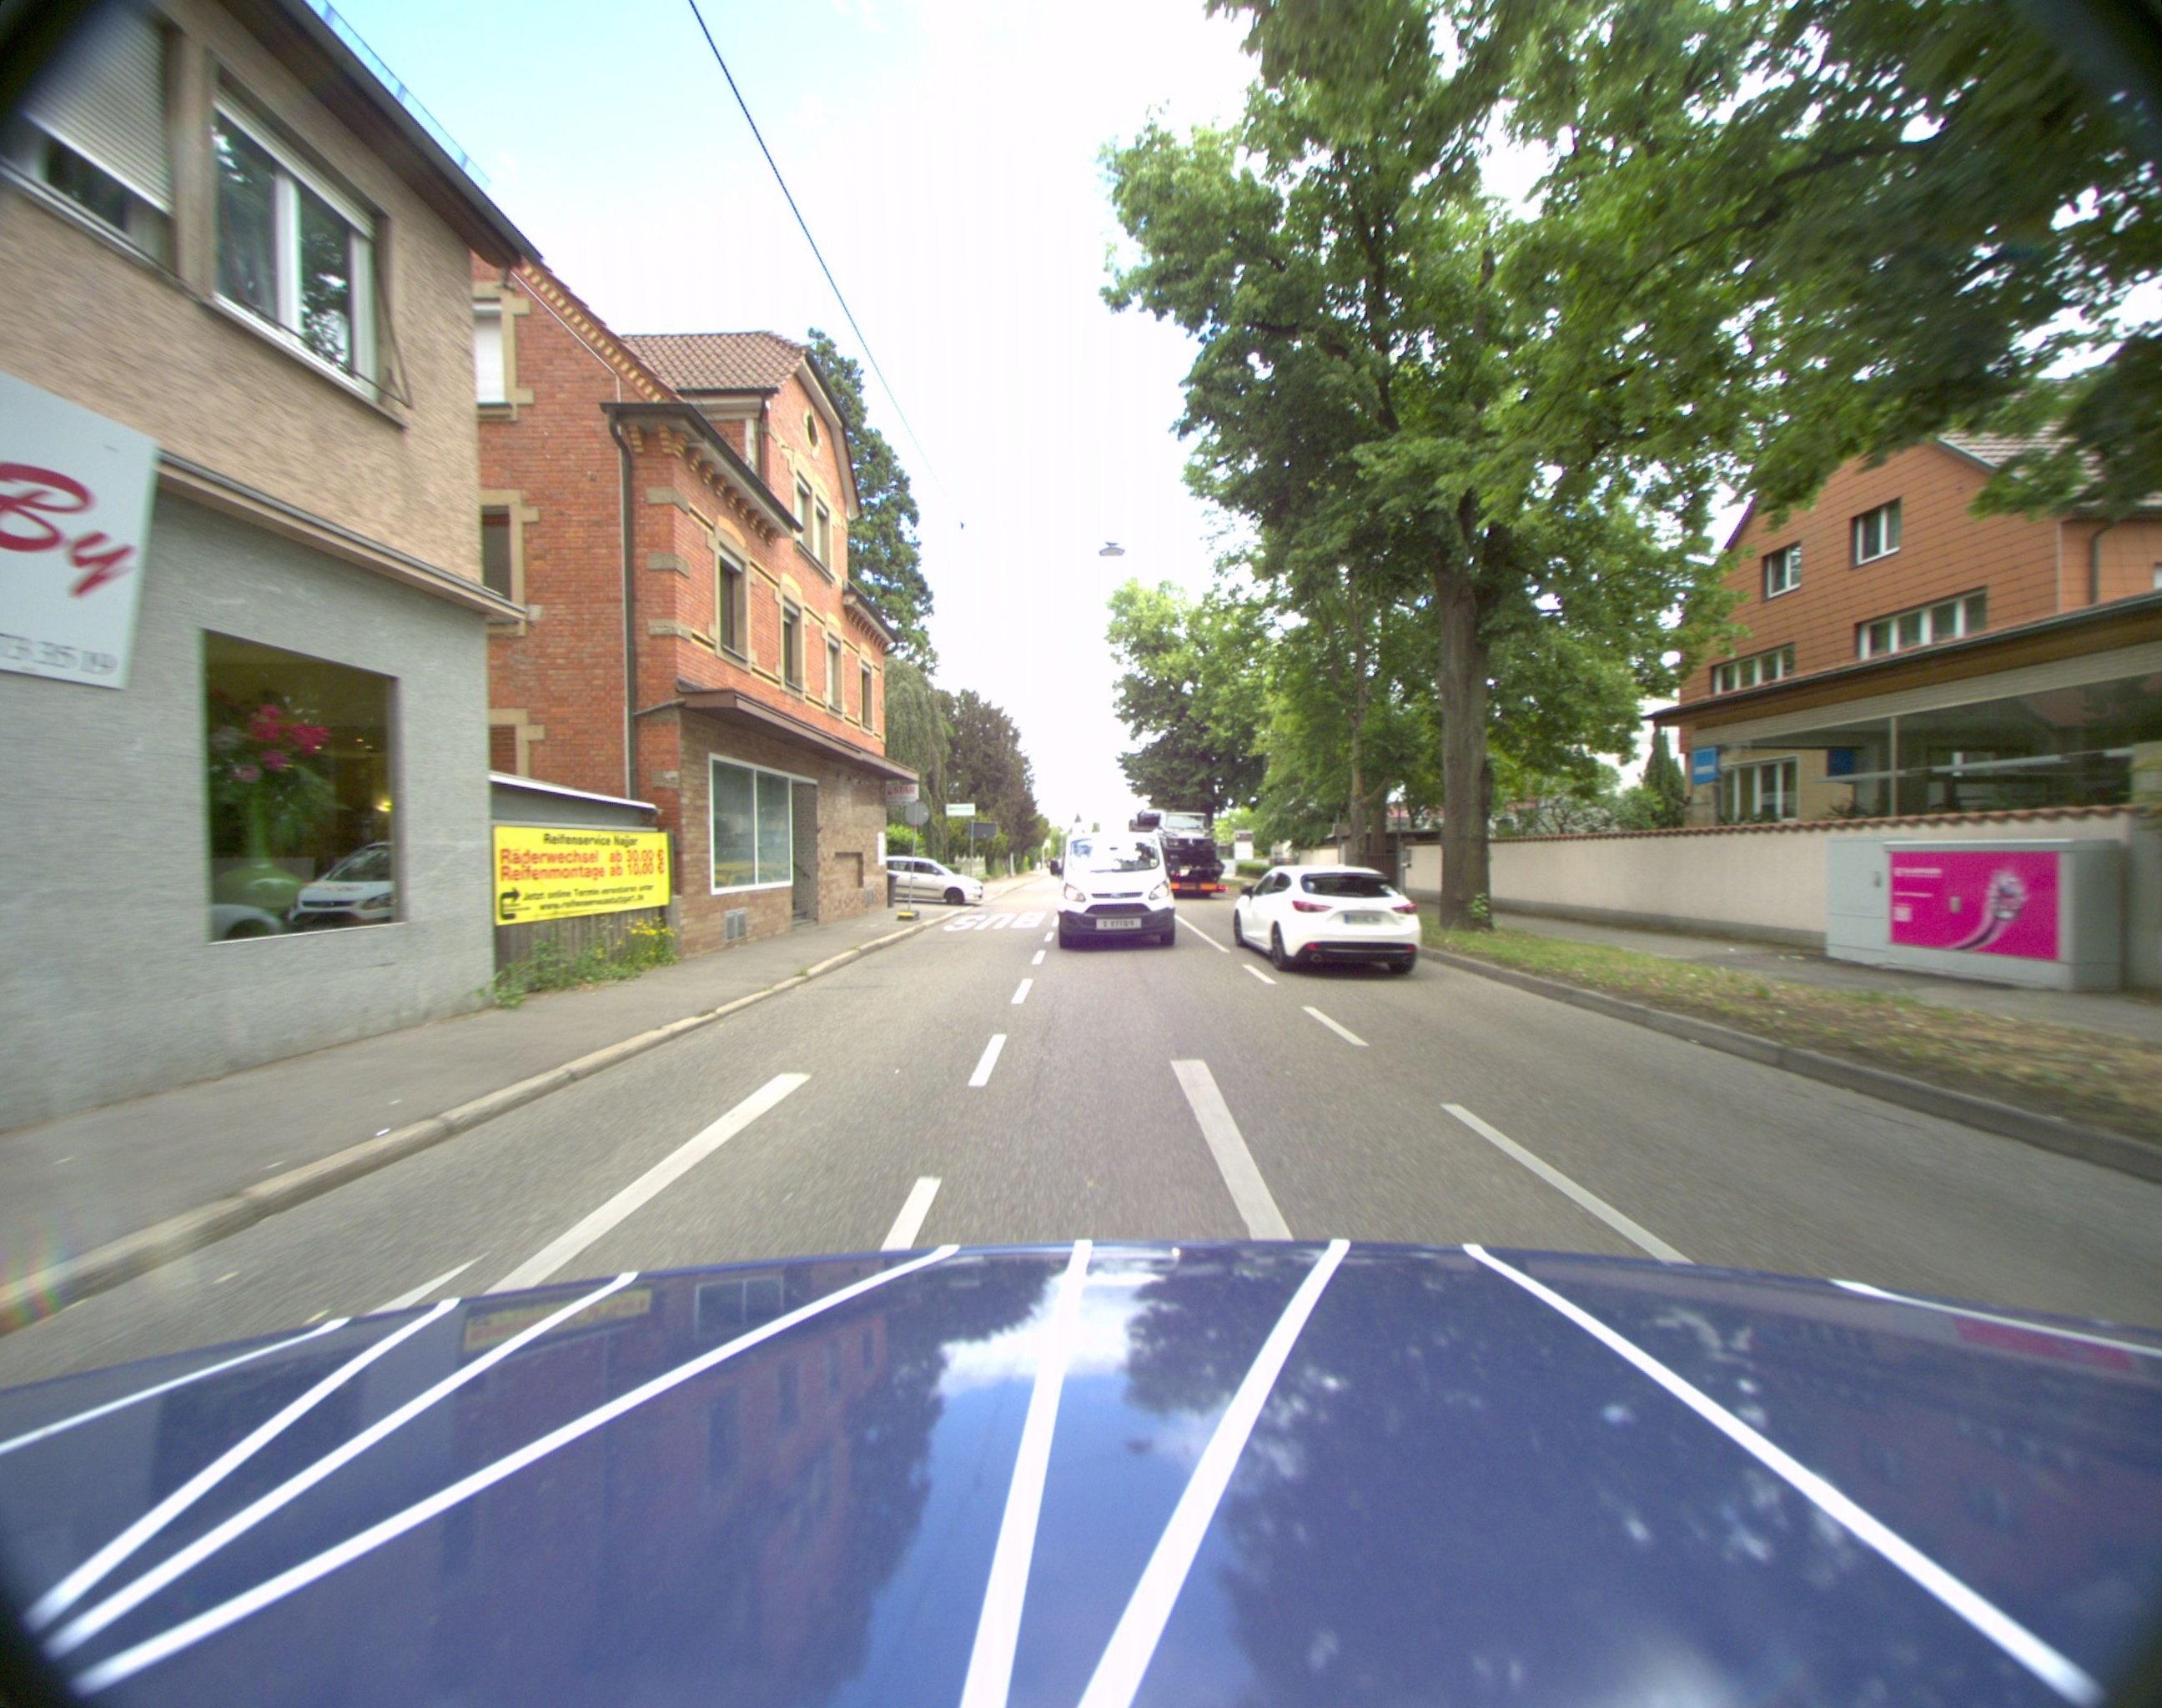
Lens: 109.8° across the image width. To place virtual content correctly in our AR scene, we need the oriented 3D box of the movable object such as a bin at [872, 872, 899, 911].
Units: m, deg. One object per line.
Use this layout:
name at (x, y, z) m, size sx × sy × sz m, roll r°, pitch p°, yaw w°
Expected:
movable object such as a bin at (-5.757, 1.098, 22.341) m, size 0.608 × 1.094 × 0.622 m, roll 1°, pitch 1°, yaw 1°

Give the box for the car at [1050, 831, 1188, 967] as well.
car at (0.549, 0.634, 14.128) m, size 1.999 × 1.961 × 5.714 m, roll -2°, pitch 1°, yaw 0°

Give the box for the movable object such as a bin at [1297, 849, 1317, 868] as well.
movable object such as a bin at (17.824, 0.327, 59.991) m, size 1.301 × 1.457 × 0.992 m, roll -2°, pitch 1°, yaw 1°

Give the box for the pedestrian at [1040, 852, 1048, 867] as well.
pedestrian at (-4.236, 0.626, 87.262) m, size 0.488 × 1.757 × 0.672 m, roll -1°, pitch 2°, yaw 32°

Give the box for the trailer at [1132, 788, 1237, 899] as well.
trailer at (4.092, -0.444, 33.706) m, size 2.865 × 3.786 × 14.389 m, roll -2°, pitch 1°, yaw 1°

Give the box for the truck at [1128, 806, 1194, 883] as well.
truck at (4.224, -0.540, 41.729) m, size 2.850 × 3.761 × 7.668 m, roll -2°, pitch 1°, yaw 1°

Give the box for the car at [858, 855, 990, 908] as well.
car at (-5.169, 0.904, 25.372) m, size 4.039 × 1.462 × 1.600 m, roll 3°, pitch 1°, yaw -1°
